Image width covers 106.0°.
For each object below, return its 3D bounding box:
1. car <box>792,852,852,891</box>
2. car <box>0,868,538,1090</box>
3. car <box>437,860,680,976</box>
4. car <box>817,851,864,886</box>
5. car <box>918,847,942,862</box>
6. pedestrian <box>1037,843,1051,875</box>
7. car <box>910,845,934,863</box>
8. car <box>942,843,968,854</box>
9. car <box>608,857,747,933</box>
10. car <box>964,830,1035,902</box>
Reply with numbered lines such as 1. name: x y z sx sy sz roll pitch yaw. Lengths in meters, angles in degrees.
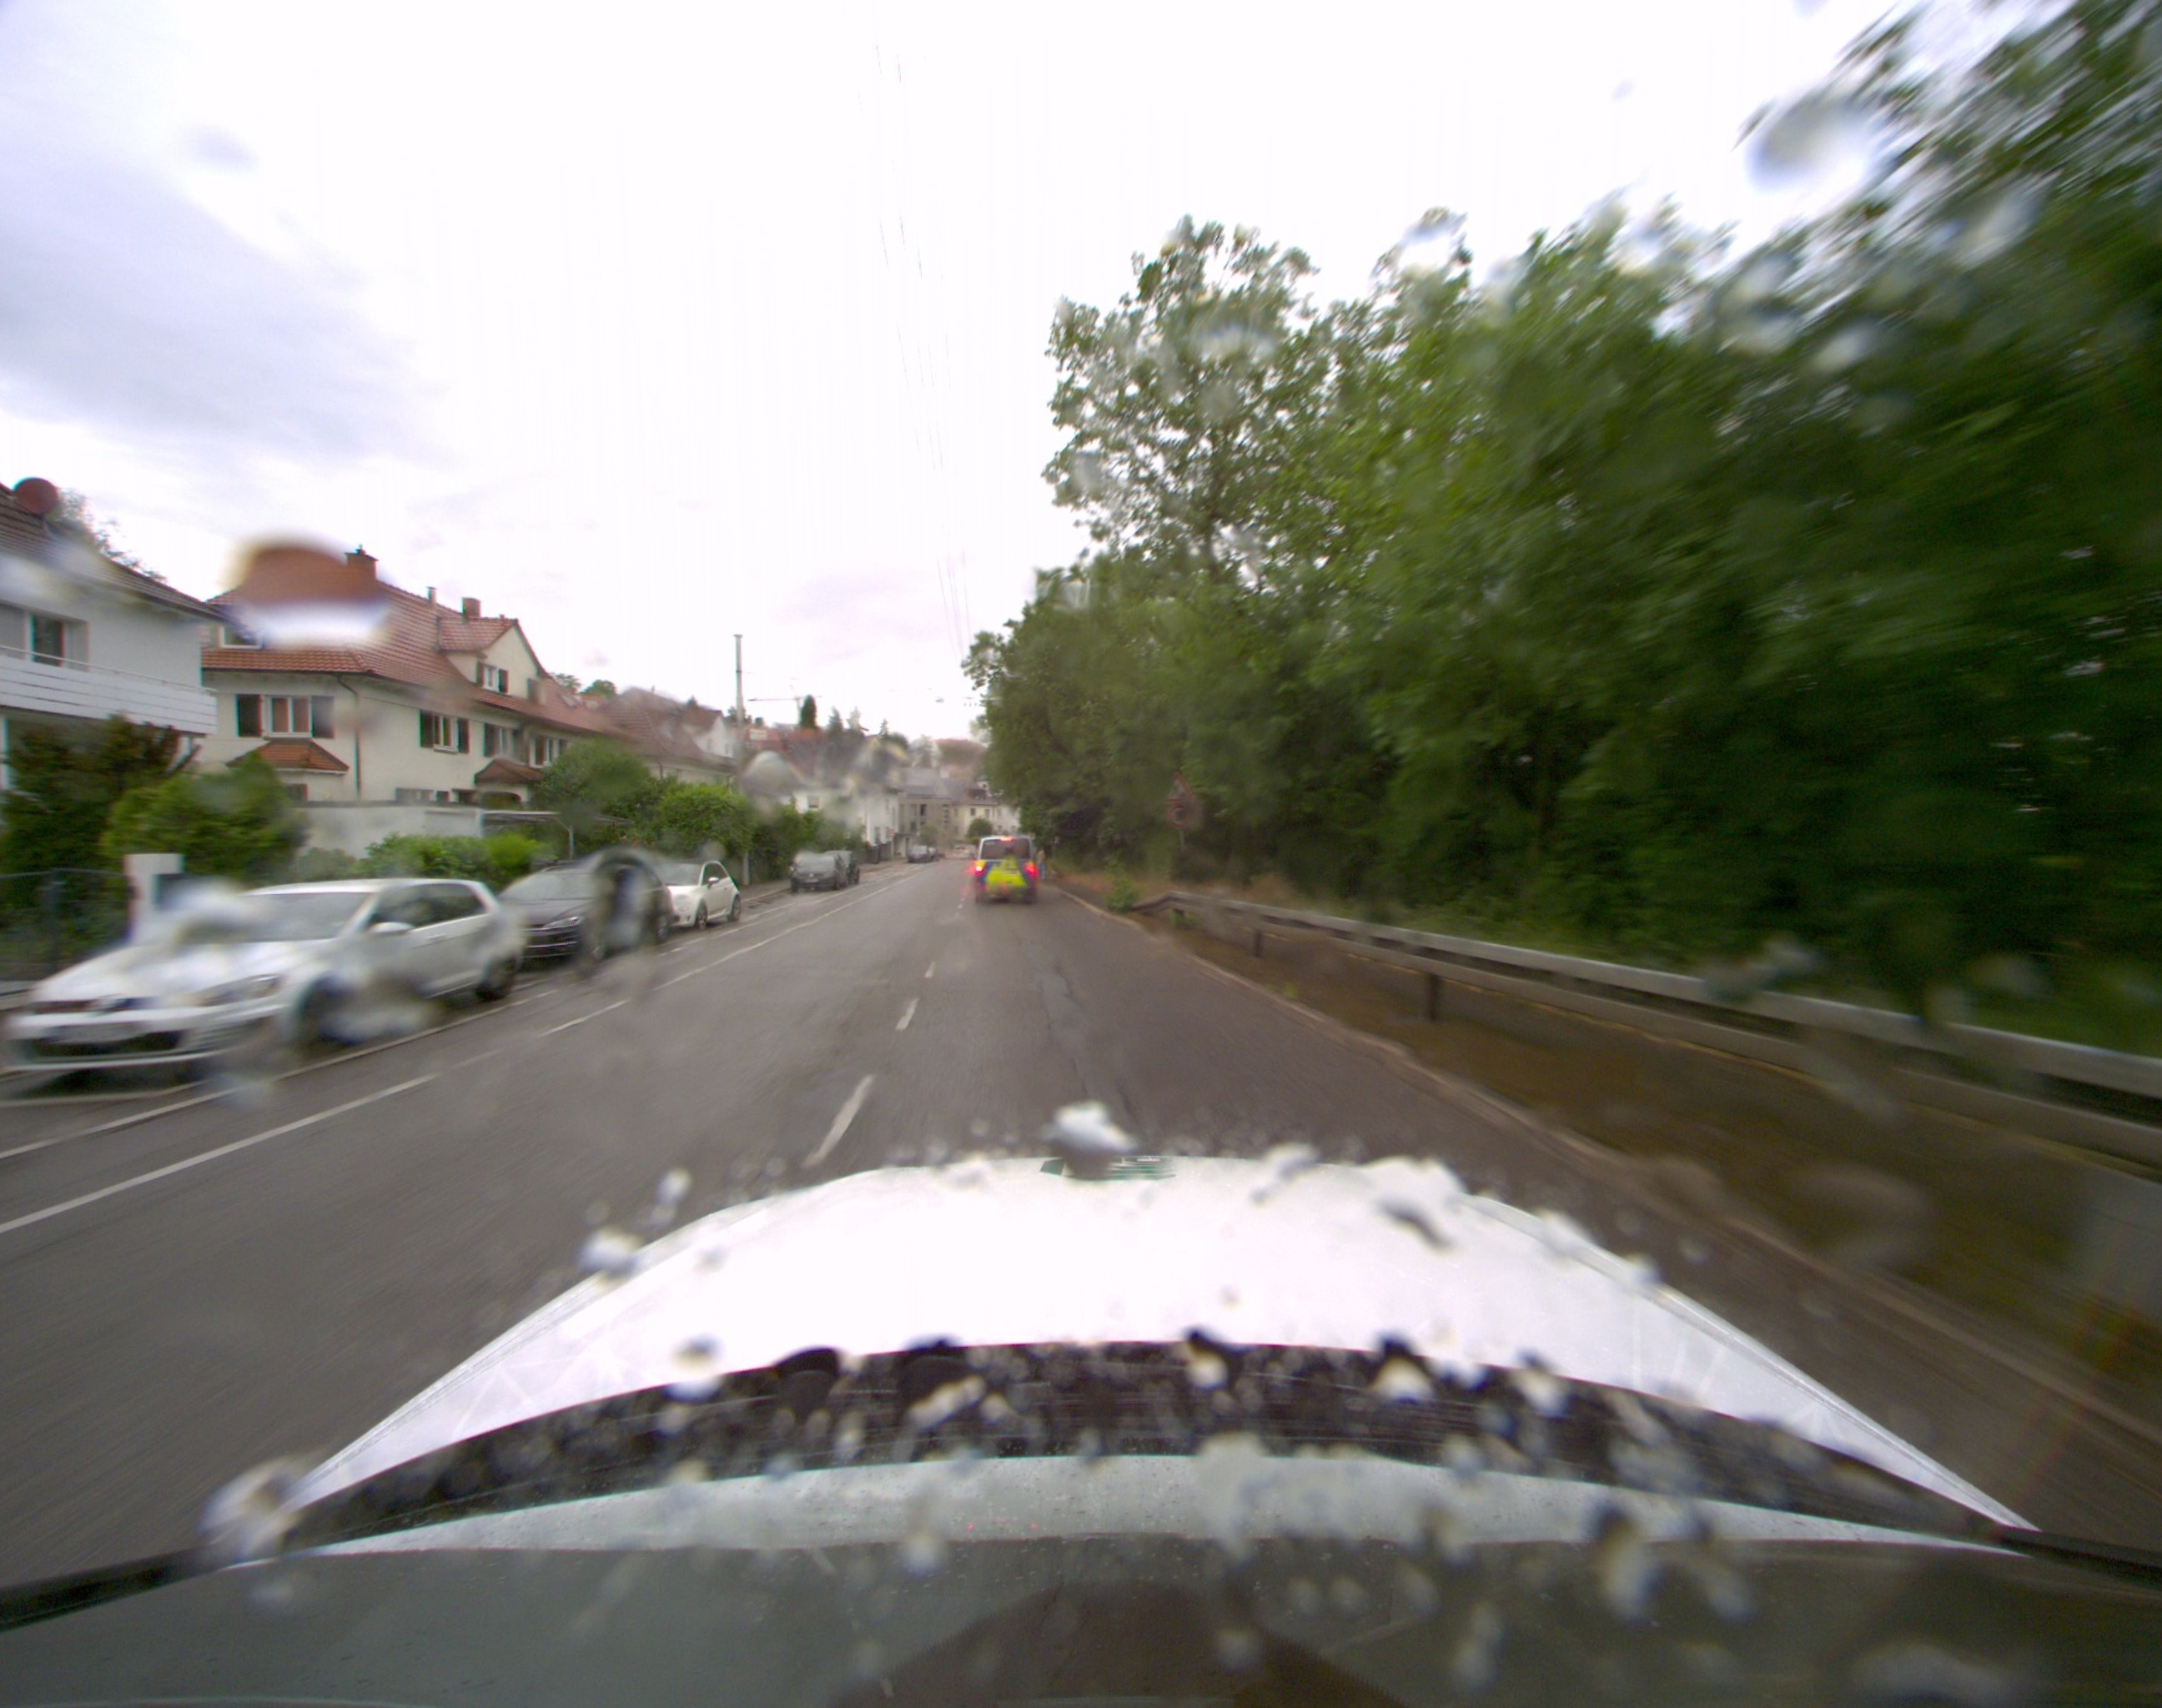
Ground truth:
1. car: -10.448 0.657 33.107 1.687 1.418 4.202 -1 1 -9
2. car: -7.315 0.914 7.899 1.732 1.422 4.271 0 1 -8
3. car: -8.297 0.903 13.470 1.697 1.524 4.410 0 0 -8
4. car: -10.959 0.615 37.248 1.517 1.454 3.023 -1 1 -6
5. car: -15.569 -0.006 84.258 1.611 1.440 4.231 1 1 1
6. pedestrian: -1.924 0.270 42.076 0.641 1.611 0.668 0 -1 -8
7. car: -15.392 -0.038 78.860 1.751 1.658 4.397 -1 1 -5
8. car: -18.566 -0.852 119.985 3.951 1.443 1.850 2 2 45
9. car: -8.854 0.837 18.204 1.697 1.468 3.700 0 0 -8
10. car: -2.424 0.357 25.164 1.989 2.014 4.396 -1 -1 -3
